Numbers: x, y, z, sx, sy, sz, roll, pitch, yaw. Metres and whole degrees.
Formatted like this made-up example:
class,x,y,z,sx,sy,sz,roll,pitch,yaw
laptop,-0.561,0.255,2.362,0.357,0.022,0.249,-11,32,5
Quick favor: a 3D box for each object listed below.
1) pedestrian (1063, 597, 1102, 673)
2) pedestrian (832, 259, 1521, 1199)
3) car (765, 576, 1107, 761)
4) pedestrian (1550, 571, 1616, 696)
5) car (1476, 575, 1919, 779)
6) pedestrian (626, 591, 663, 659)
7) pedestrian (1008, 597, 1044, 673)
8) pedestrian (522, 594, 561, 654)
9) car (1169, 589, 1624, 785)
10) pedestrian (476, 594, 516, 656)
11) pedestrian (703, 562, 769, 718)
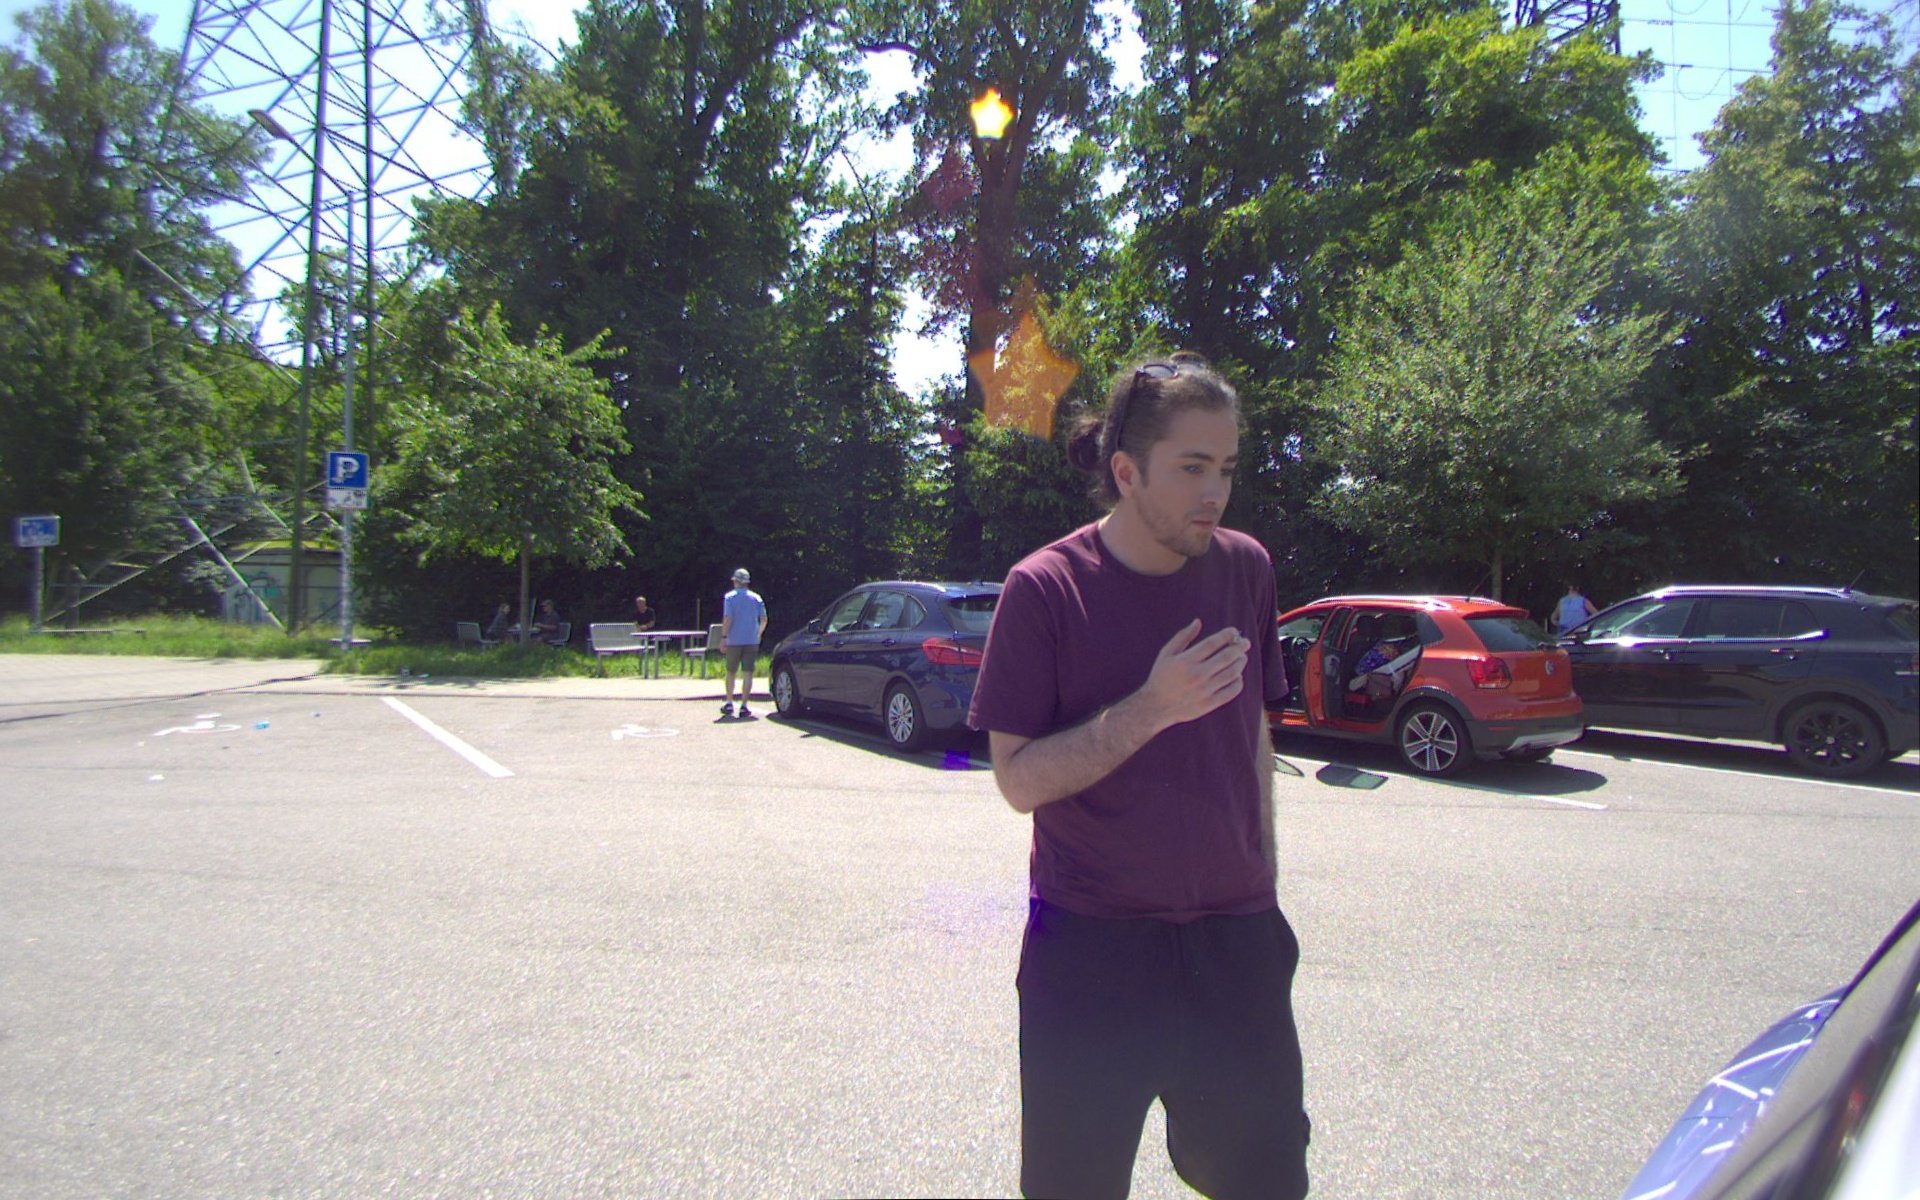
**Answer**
class,x,y,z,sx,sy,sz,roll,pitch,yaw
pedestrian,2.055,0.578,17.033,0.576,1.251,0.697,0,-1,1
pedestrian,0.381,0.534,1.761,0.858,1.857,0.851,0,0,44
car,-0.445,0.555,10.684,1.776,1.562,3.940,1,0,-34
pedestrian,9.433,0.489,15.347,0.756,1.854,0.517,0,0,21
car,7.258,0.593,9.725,1.707,1.607,3.732,1,0,-39
pedestrian,-6.649,0.518,21.336,0.553,1.408,0.700,0,0,2
pedestrian,1.107,0.583,17.099,0.576,1.251,0.697,0,-1,1
pedestrian,-9.721,0.542,23.497,0.687,1.352,0.563,0,0,-40
car,3.892,0.643,9.611,1.559,1.467,3.737,1,0,-33
pedestrian,-10.478,0.553,22.859,0.687,1.352,0.563,0,0,-40
pedestrian,-2.614,0.449,11.852,0.662,1.754,0.835,0,0,-7
